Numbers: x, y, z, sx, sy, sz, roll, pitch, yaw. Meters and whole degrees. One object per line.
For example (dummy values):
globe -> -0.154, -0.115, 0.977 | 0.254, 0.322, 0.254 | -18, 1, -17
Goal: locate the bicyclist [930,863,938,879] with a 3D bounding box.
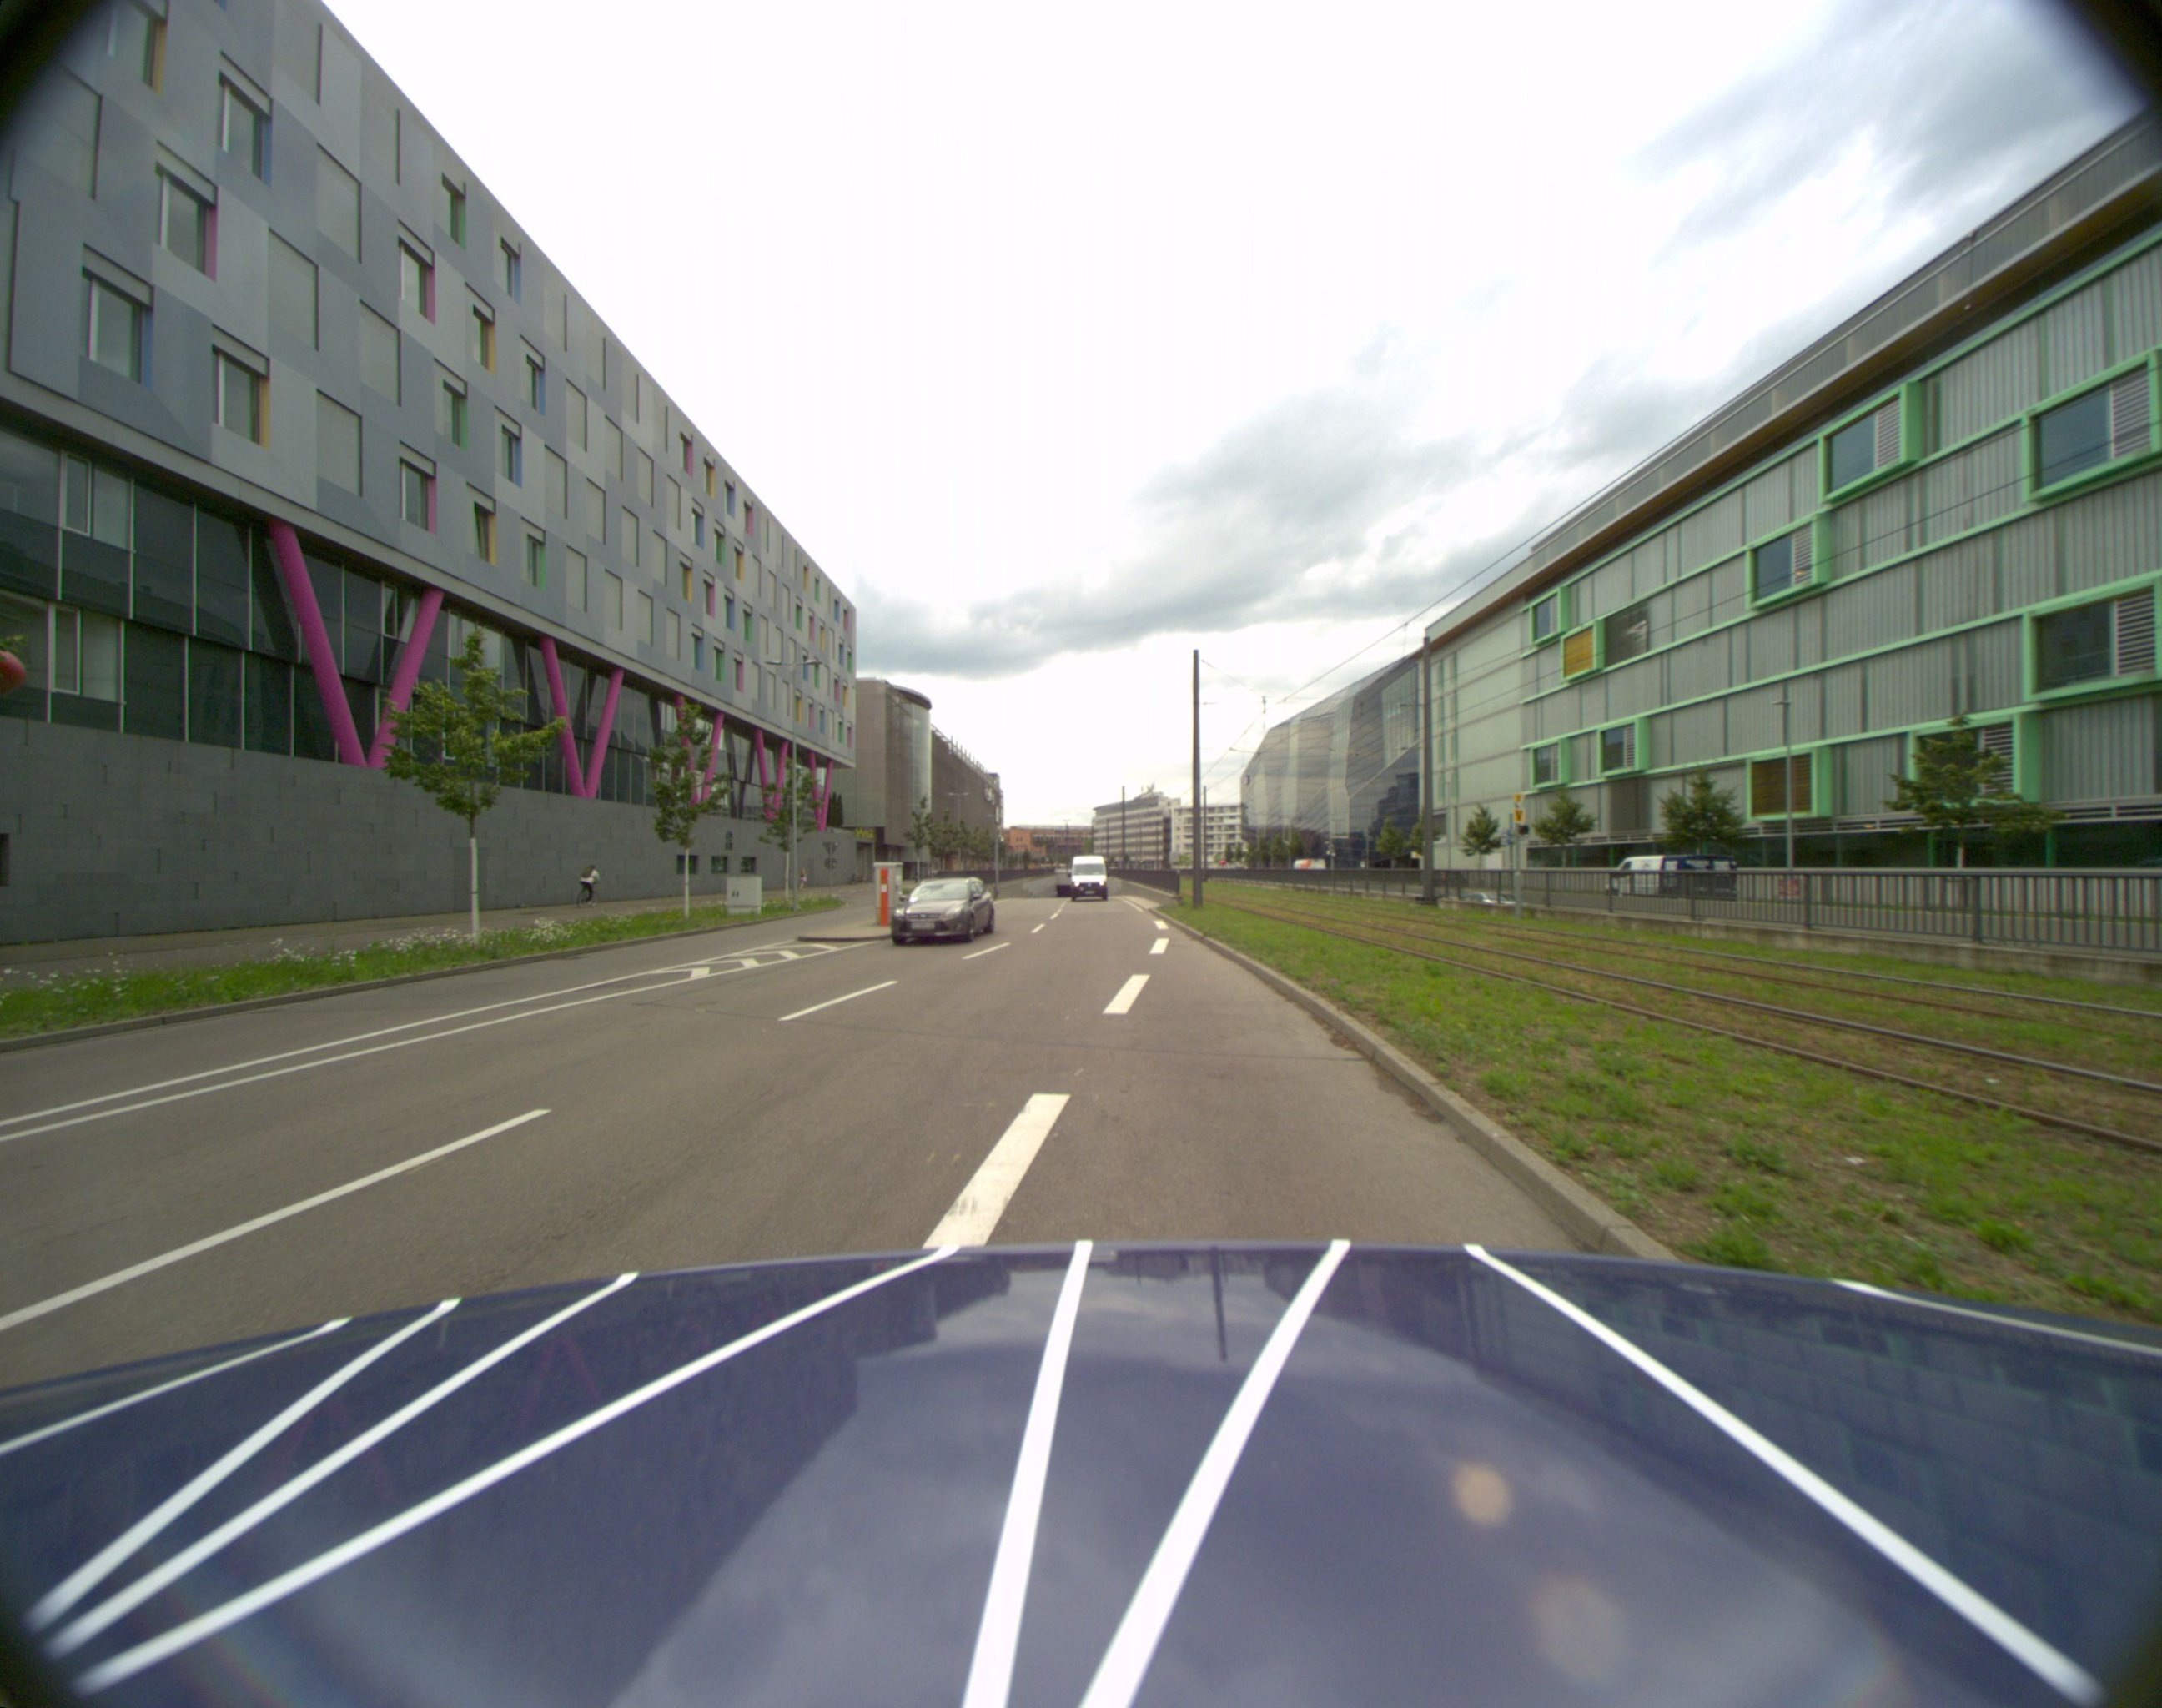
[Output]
bicyclist -> -16.886, 1.987, 87.349 | 0.784, 1.791, 0.705 | -1, -1, 0

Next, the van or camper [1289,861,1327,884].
van or camper -> 23.846, 1.945, 80.048 | 2.178, 2.272, 6.508 | -1, -1, 1

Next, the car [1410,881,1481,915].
car -> 23.562, 2.919, 49.397 | 1.999, 2.000, 4.975 | -1, -5, -2

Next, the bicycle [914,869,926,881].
bicycle -> -17.743, 2.339, 83.889 | 0.801, 1.150, 2.347 | -1, -5, 0

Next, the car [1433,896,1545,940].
car -> 16.275, 2.524, 30.640 | 1.786, 1.505, 4.972 | 0, -2, -1

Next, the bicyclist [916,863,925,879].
bicyclist -> -17.748, 1.896, 84.005 | 0.784, 1.790, 0.705 | -1, -5, 0

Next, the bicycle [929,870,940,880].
bicycle -> -16.885, 2.397, 87.336 | 0.801, 1.151, 2.345 | -1, -2, 0

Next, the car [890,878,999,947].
car -> -3.195, 1.333, 18.581 | 1.752, 1.490, 4.270 | -1, -2, 2

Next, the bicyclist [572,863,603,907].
bicyclist -> -20.376, 1.287, 31.396 | 0.773, 1.776, 0.973 | 0, -1, -13

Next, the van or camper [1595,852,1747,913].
van or camper -> 24.133, 1.137, 31.424 | 2.178, 2.272, 5.360 | 0, -1, 1

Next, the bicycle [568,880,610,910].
bicycle -> -20.442, 1.676, 31.637 | 0.786, 1.187, 2.218 | 0, -1, -14

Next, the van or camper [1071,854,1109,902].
van or camper -> 0.474, 1.359, 43.427 | 2.043, 2.571, 5.043 | -1, -2, 0

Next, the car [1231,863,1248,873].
car -> 26.844, 2.342, 128.856 | 1.998, 1.582, 4.770 | 0, -3, 3
